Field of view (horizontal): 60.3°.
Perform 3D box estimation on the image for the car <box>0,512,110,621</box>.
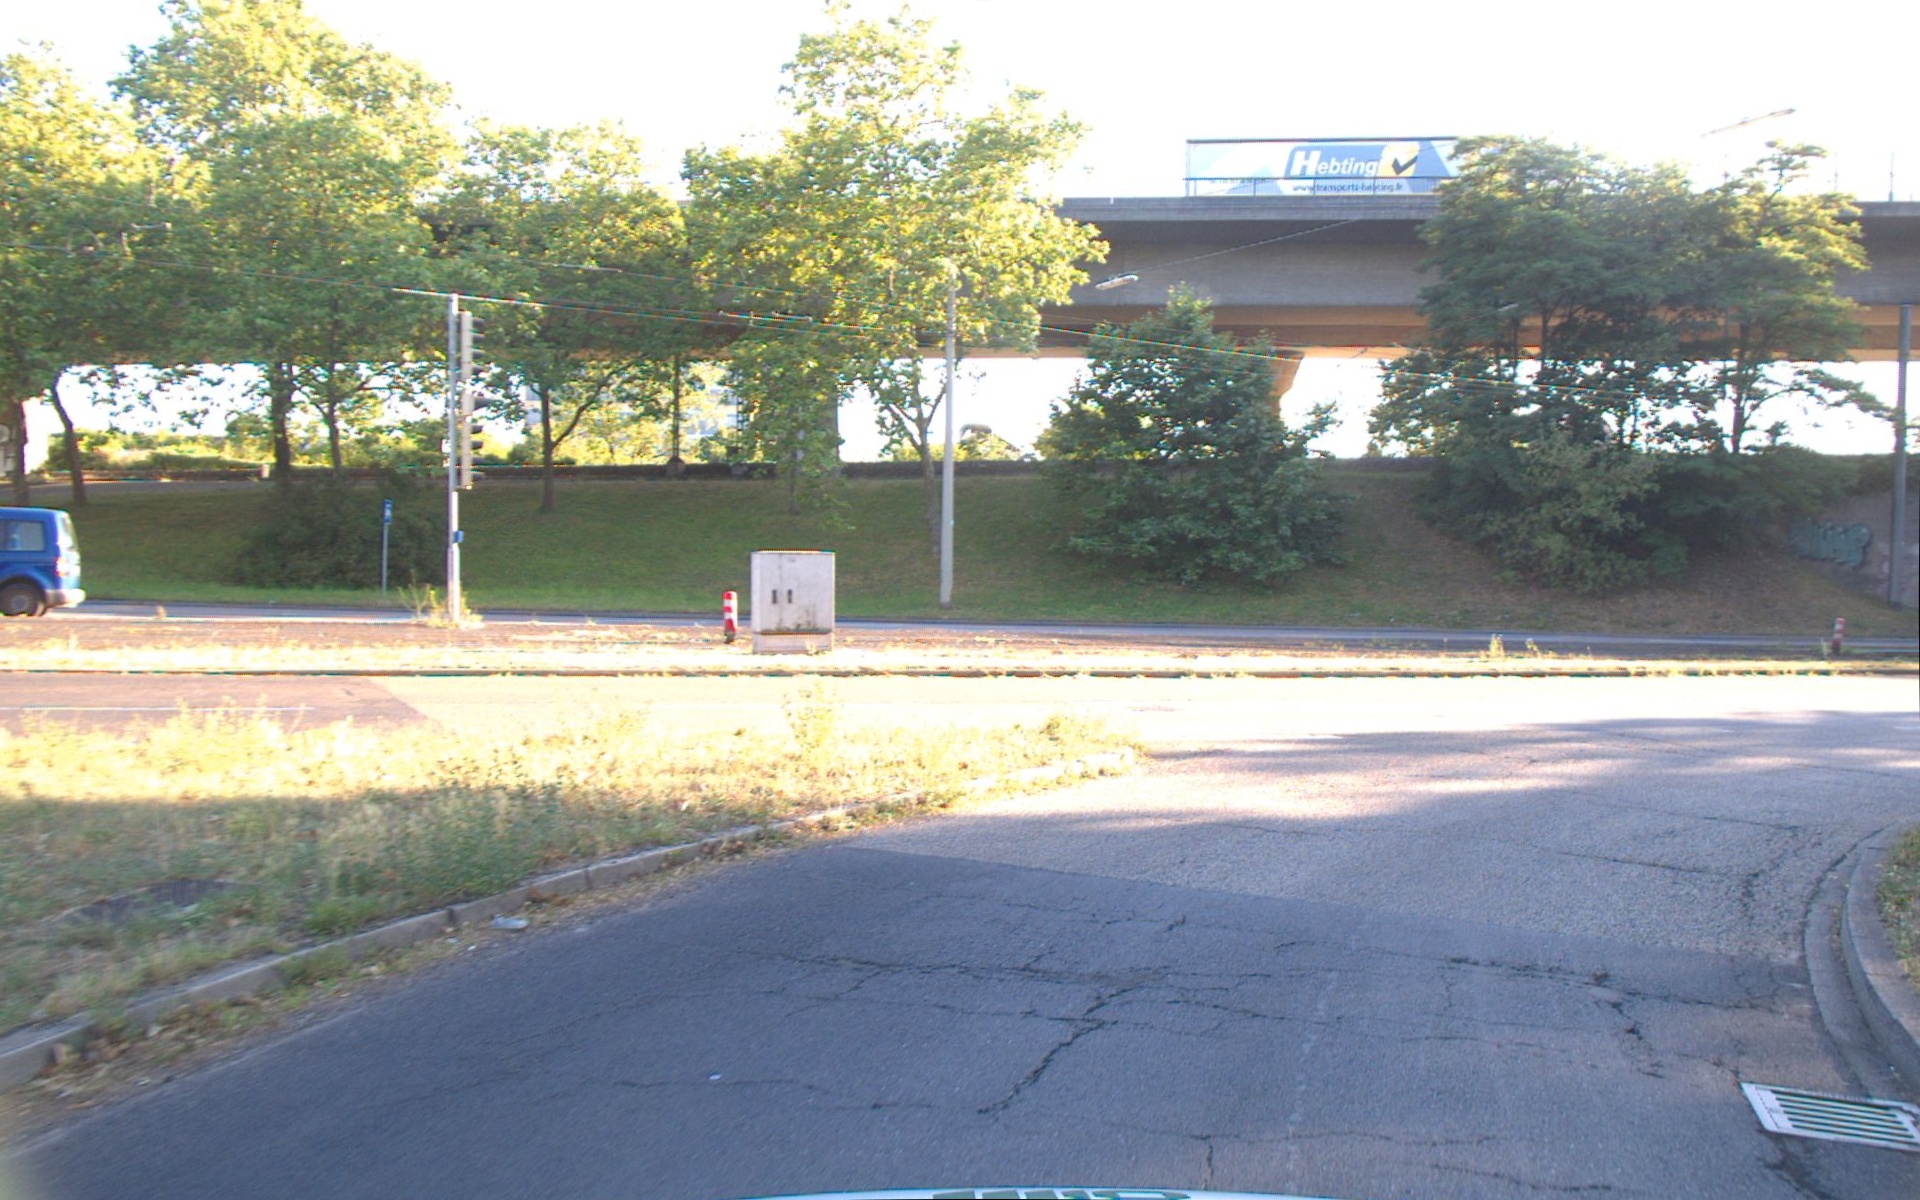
[{"bbox_3d":[-16.542,-0.585,27.163,4.446,1.722,1.985,1,1,-25],"label":"car"}]
